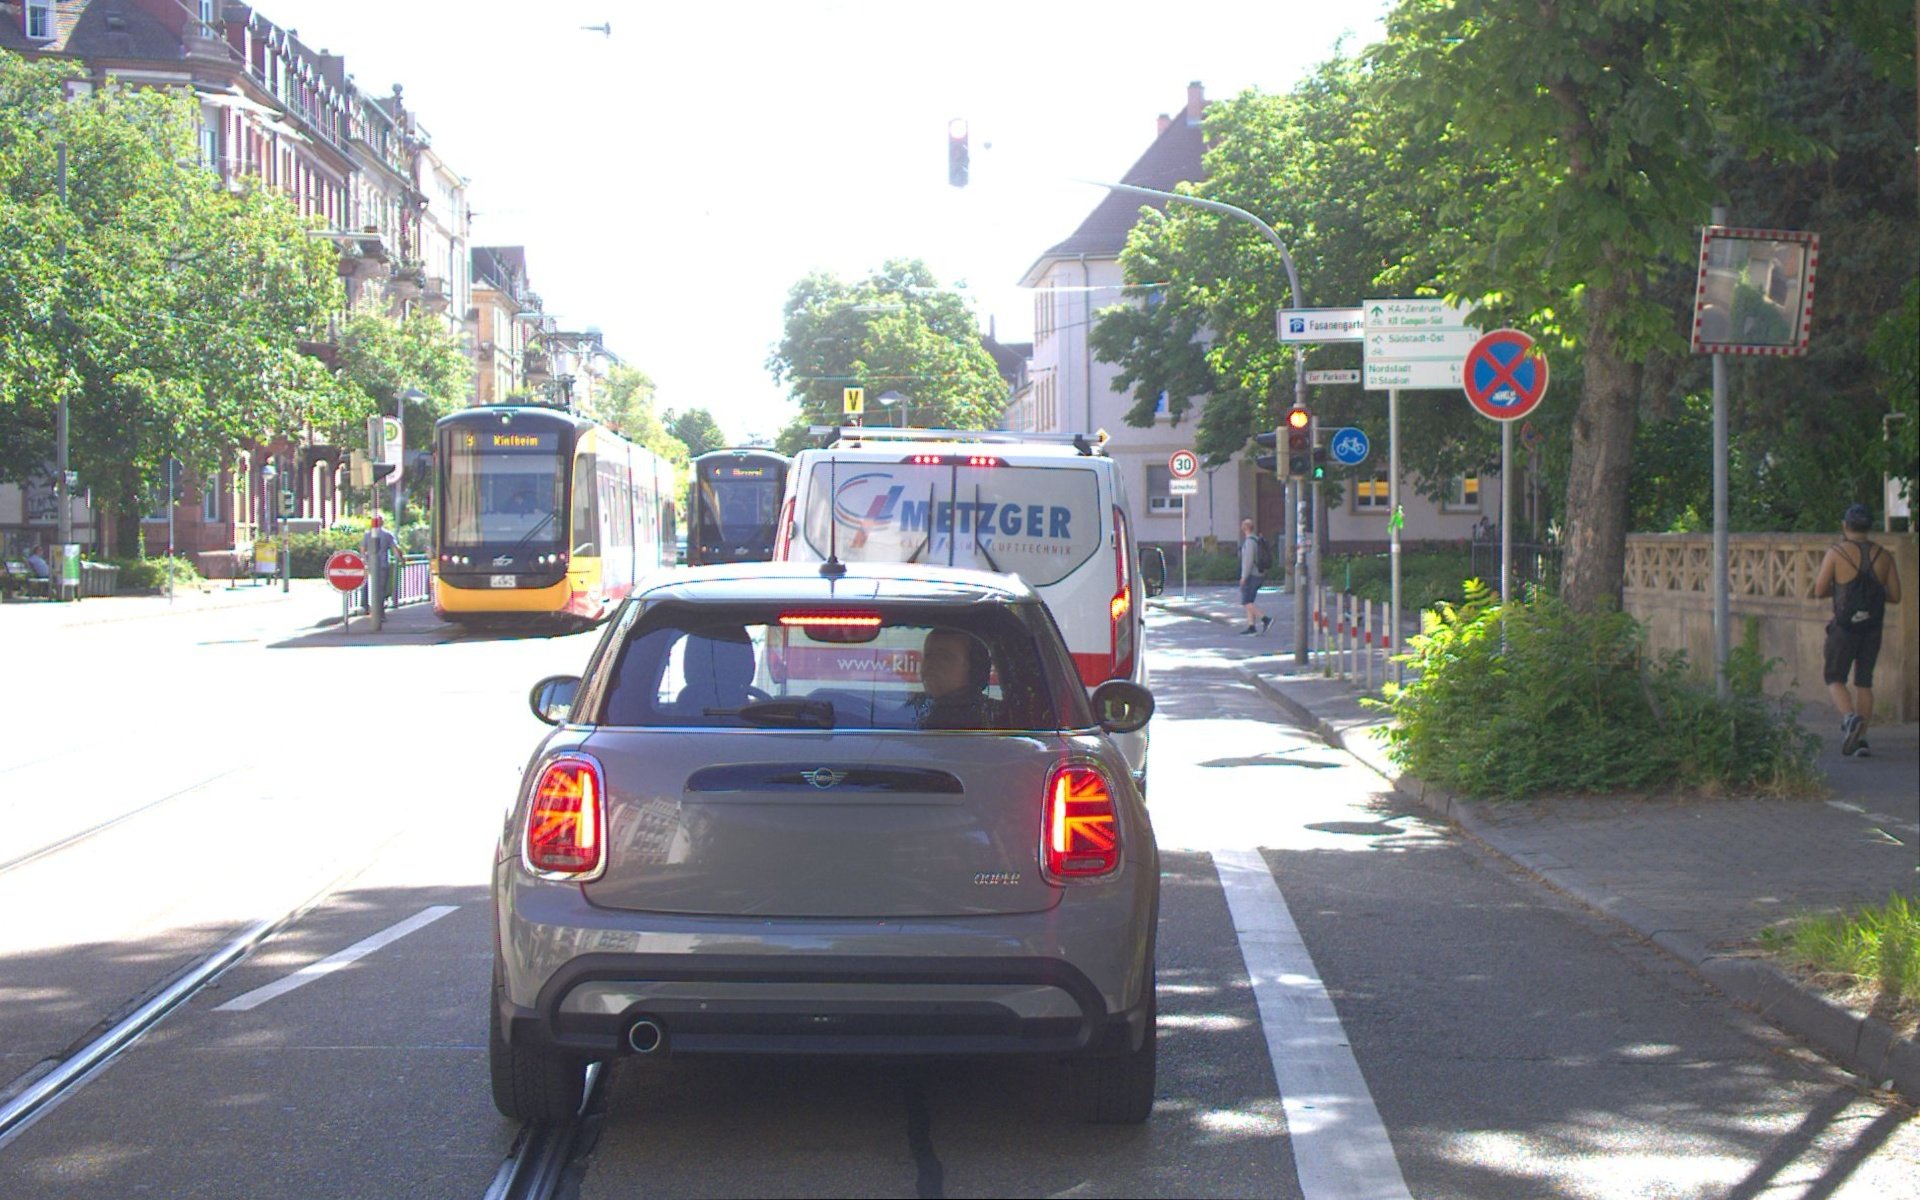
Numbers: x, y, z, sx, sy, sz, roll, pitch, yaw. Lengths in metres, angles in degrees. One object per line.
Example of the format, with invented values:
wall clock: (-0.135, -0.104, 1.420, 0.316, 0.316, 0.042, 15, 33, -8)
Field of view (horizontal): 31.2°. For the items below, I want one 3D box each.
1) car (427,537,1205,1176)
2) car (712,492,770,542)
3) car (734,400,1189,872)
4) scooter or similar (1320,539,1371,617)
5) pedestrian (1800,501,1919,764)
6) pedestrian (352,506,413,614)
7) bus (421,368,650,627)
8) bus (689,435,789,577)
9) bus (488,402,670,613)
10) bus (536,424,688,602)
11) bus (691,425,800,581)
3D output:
car: (-0.362, 0.586, 10.111, 1.815, 1.483, 4.000, 1, 1, -1)
car: (-7.318, -2.753, 114.661, 1.863, 1.558, 4.001, 1, 1, -4)
car: (-0.019, 0.146, 18.698, 2.118, 2.200, 4.945, 1, 1, -1)
scooter or similar: (6.589, -0.378, 58.825, 0.676, 1.305, 1.329, 1, 0, -1)
pedestrian: (5.850, 0.205, 22.291, 0.592, 1.665, 0.647, -2, 0, -1)
pedestrian: (-9.716, -0.679, 57.891, 0.881, 1.795, 0.903, 1, 0, -2)
bus: (-6.759, -1.565, 56.307, 2.859, 3.764, 11.499, 1, 1, -3)
bus: (-5.767, -2.371, 88.996, 2.385, 3.484, 7.385, 1, 1, -5)
bus: (-7.348, -1.725, 67.685, 2.859, 3.764, 11.185, 1, 1, -3)
bus: (-7.887, -1.916, 79.254, 2.849, 3.764, 12.199, 1, 1, -3)
bus: (-5.142, -2.235, 81.570, 2.385, 3.484, 7.385, 1, 1, -5)
